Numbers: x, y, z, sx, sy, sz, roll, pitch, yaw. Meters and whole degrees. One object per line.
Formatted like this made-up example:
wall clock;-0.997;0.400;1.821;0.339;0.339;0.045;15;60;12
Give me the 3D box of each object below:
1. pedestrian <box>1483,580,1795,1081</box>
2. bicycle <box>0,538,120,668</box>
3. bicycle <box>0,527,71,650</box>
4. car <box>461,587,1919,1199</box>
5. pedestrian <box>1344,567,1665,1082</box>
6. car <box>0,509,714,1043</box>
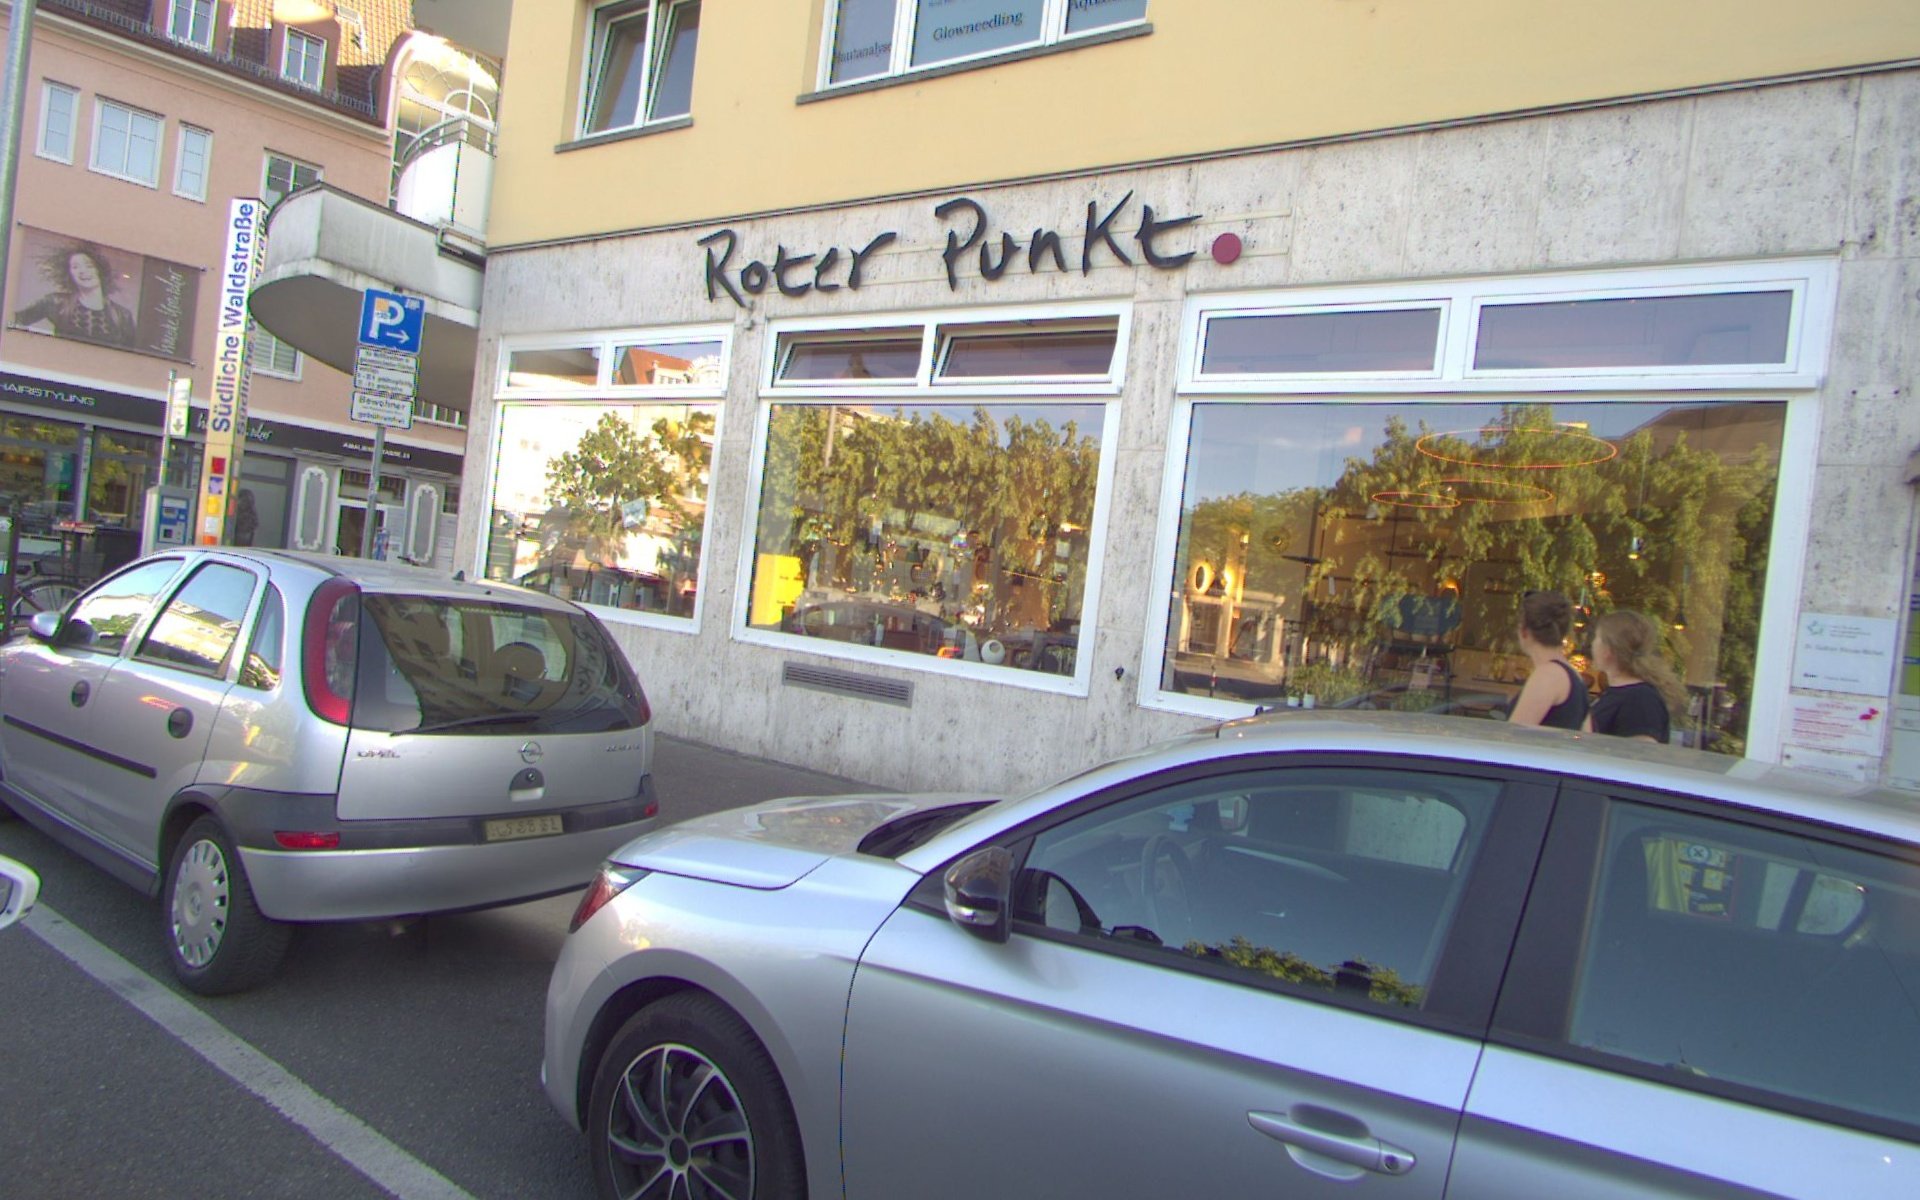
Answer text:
pedestrian;2.720;0.869;4.114;0.557;1.805;0.743;7;0;0
bicycle;-8.112;0.002;8.197;0.348;1.051;1.871;6;1;38
bicycle;-9.092;-0.146;8.807;0.408;1.101;1.872;6;1;35
car;0.761;0.924;2.274;3.598;1.444;1.550;6;-1;30
pedestrian;1.979;0.773;3.749;0.635;1.685;0.659;7;0;-1
car;-2.936;0.470;4.431;3.420;1.407;1.548;6;-1;33
